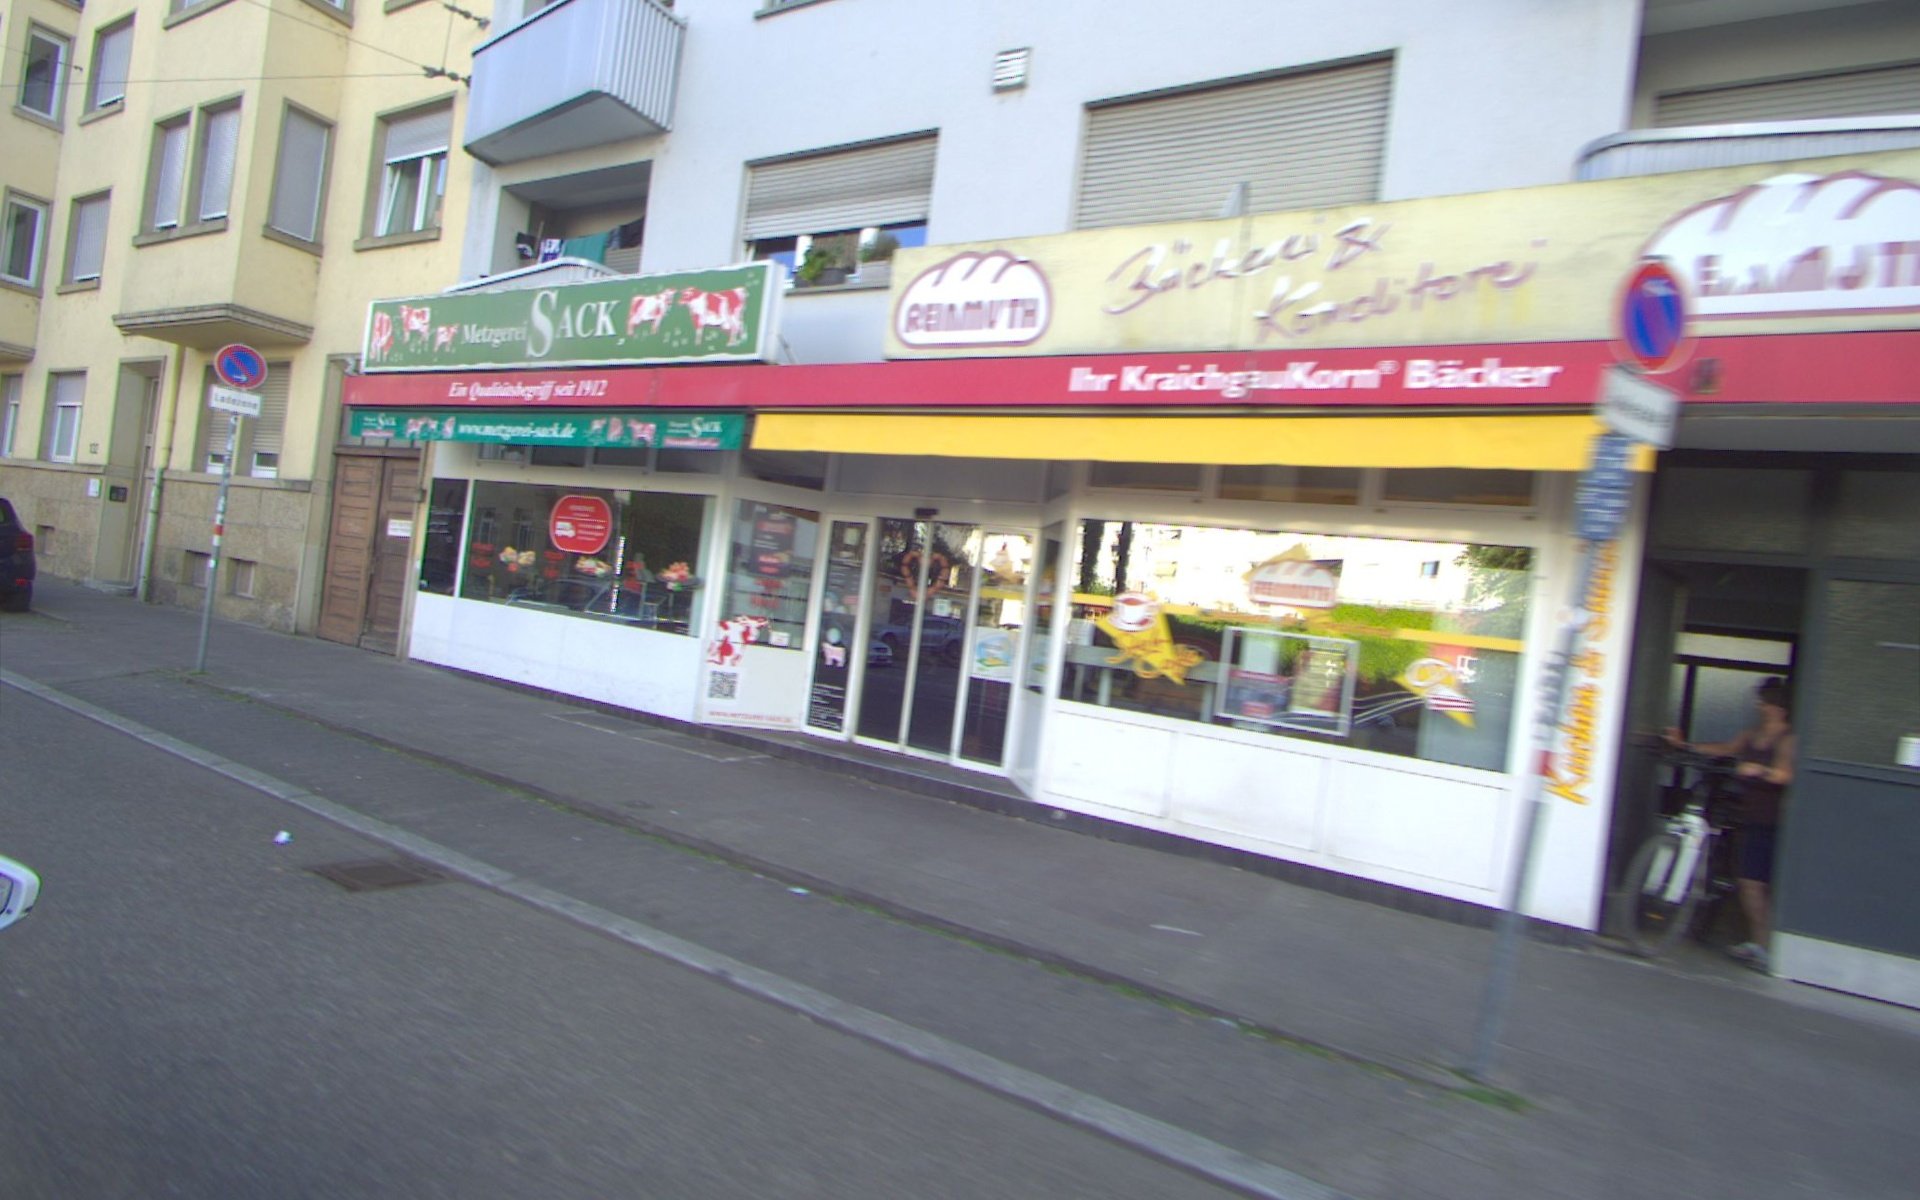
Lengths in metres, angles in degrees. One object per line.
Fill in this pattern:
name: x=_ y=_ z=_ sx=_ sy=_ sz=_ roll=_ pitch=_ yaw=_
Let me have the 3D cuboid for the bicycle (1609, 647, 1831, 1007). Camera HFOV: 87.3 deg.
bicycle: x=4.501 y=1.256 z=6.084 sx=0.763 sy=1.730 sz=1.933 roll=7 pitch=-1 yaw=34

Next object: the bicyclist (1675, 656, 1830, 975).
bicyclist: x=4.756 y=1.251 z=6.085 sx=0.502 sy=1.722 sz=0.843 roll=7 pitch=-1 yaw=34

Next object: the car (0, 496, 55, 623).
car: x=-13.522 y=-0.721 z=12.917 sx=3.935 sy=1.509 sz=1.720 roll=7 pitch=0 yaw=32
